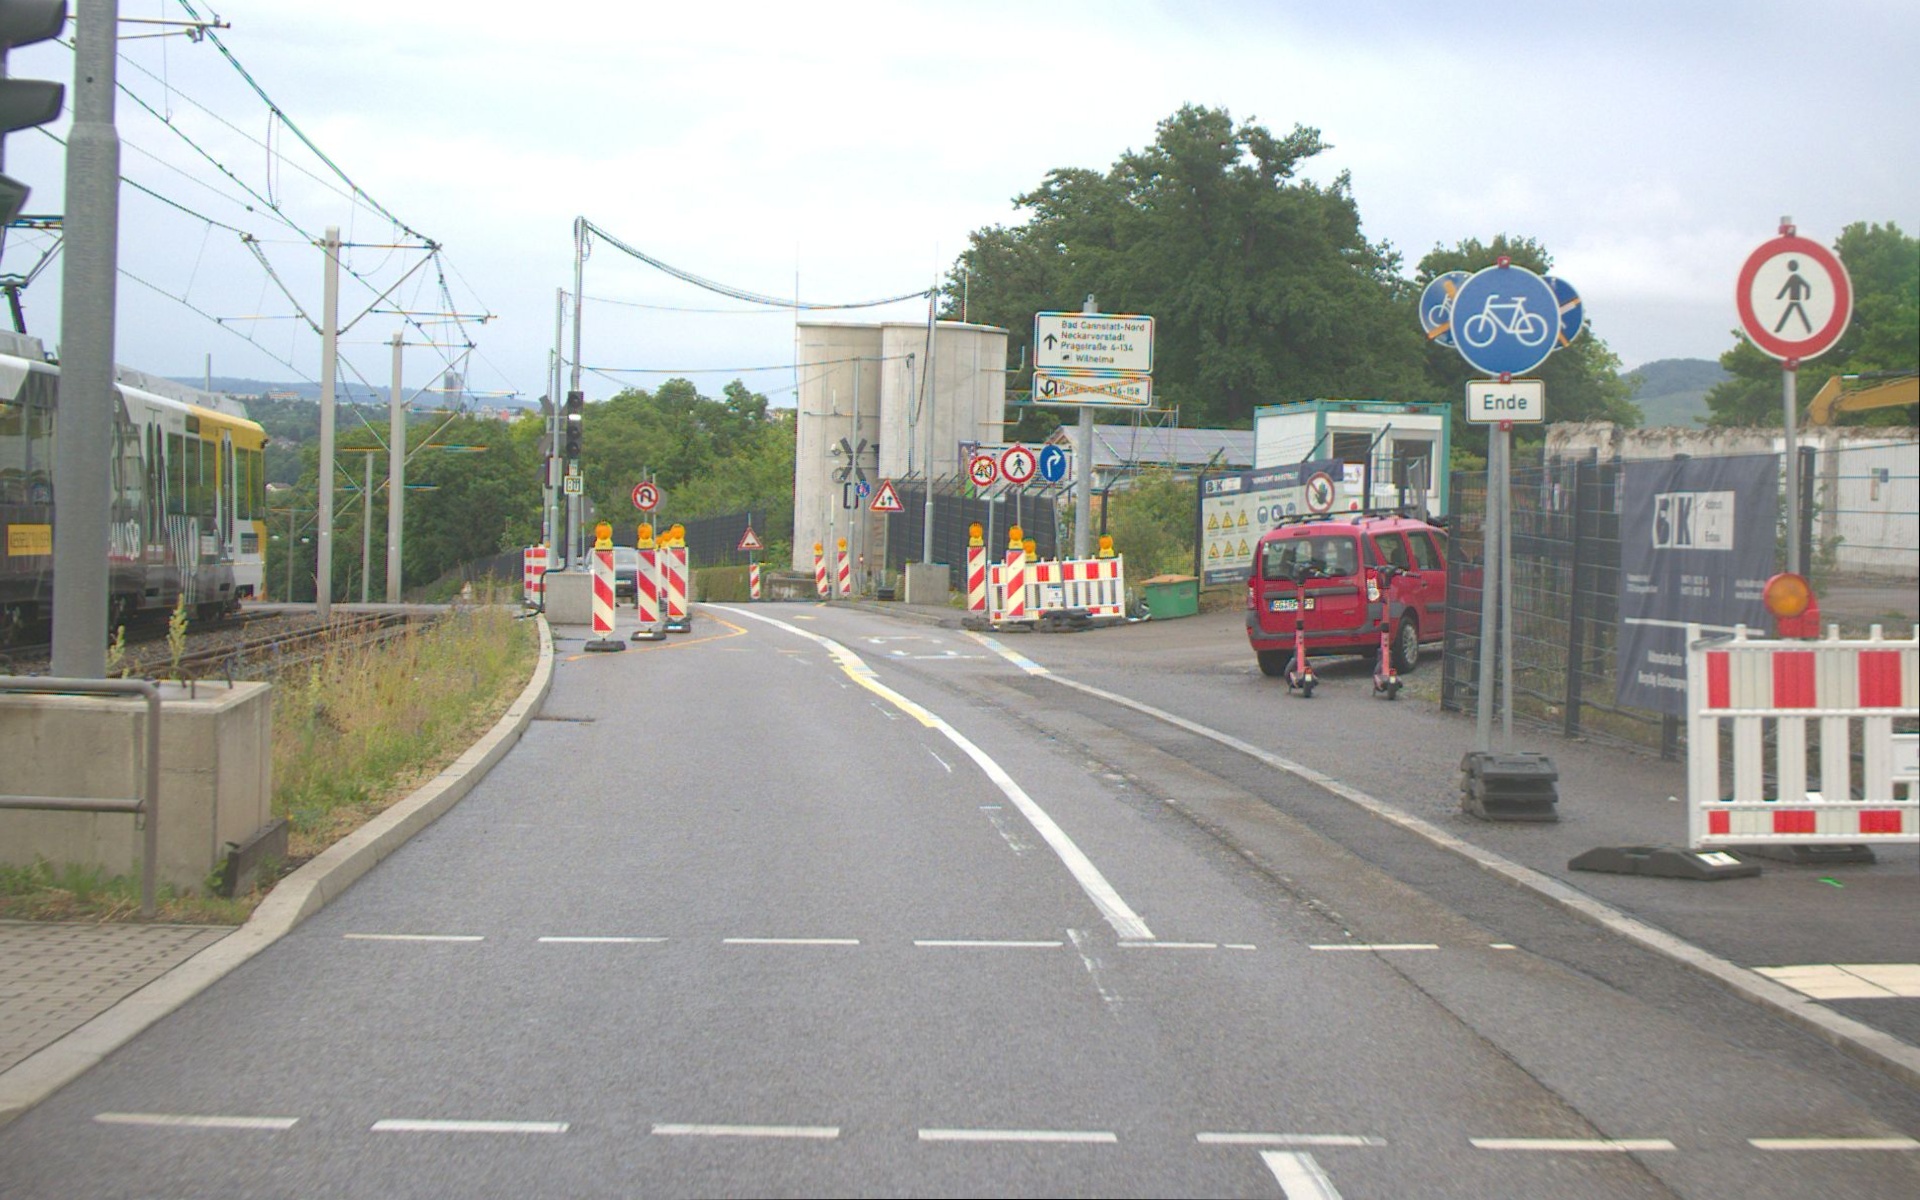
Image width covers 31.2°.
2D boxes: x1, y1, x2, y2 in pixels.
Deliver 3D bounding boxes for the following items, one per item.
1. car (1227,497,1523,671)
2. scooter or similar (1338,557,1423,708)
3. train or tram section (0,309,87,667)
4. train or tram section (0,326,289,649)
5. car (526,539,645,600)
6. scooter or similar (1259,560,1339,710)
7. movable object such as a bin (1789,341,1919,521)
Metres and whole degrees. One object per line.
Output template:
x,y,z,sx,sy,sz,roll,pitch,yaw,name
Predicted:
4.655,-0.207,38.030,1.822,1.787,4.402,2,1,27,car
3.942,0.286,32.357,0.615,1.346,1.912,1,1,2,scooter or similar
-11.584,-1.136,31.747,2.955,3.872,19.575,2,1,-3,train or tram section
-12.743,-1.598,51.122,2.955,3.872,19.294,2,1,-4,train or tram section
-10.663,-0.866,97.592,1.993,1.672,4.489,0,1,-25,car
3.196,0.309,32.517,0.615,1.346,1.912,1,1,2,scooter or similar
34.104,-5.671,116.461,11.233,5.975,3.491,0,1,4,movable object such as a bin
